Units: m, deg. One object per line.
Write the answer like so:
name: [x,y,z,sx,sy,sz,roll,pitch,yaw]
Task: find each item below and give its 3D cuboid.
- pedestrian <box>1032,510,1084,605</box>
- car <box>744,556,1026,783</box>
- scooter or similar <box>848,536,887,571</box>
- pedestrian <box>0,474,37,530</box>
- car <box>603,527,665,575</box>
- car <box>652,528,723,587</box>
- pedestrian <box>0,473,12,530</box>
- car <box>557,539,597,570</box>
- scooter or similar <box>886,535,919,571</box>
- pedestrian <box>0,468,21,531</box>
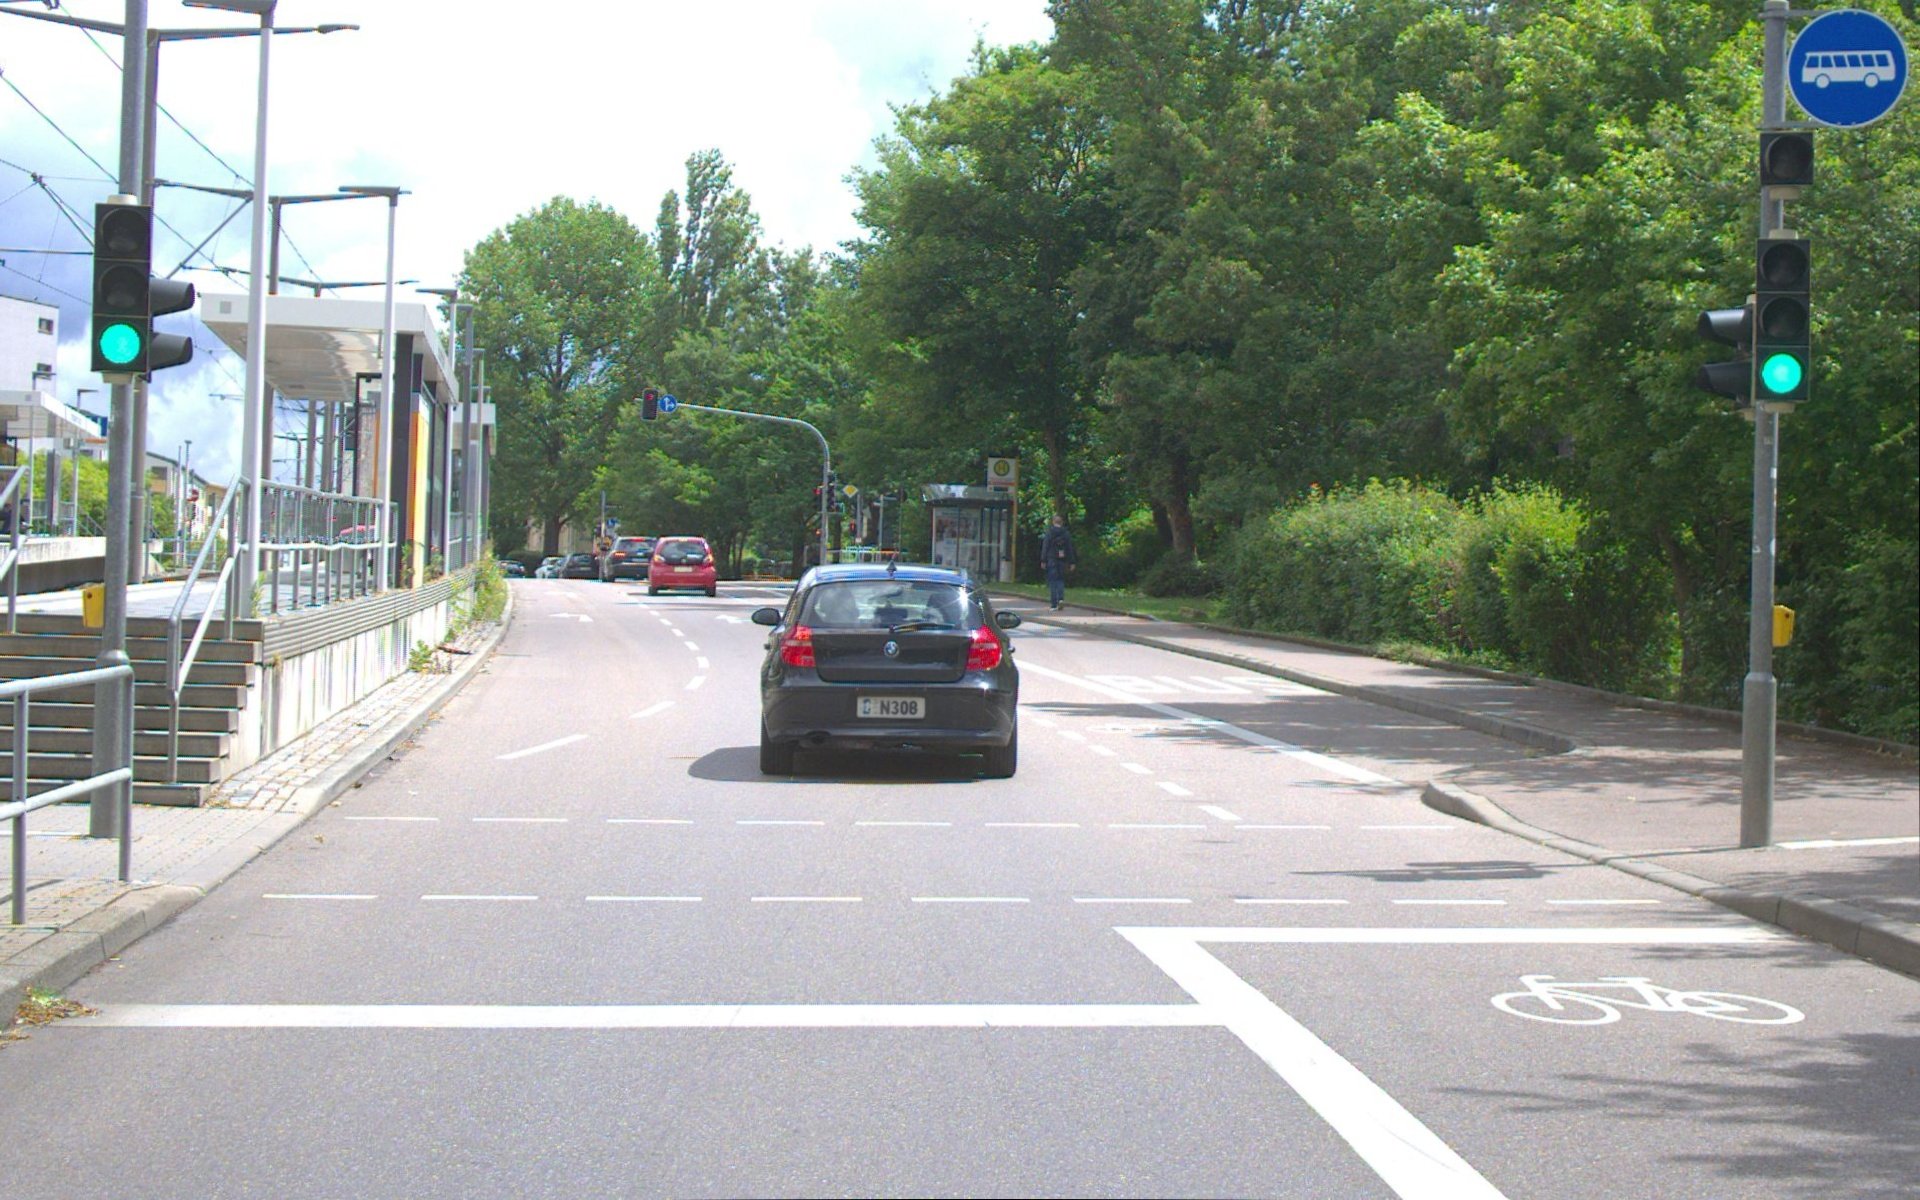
pedestrian: [1.997,-0.869,70.242,0.801,1.889,1.271,3,1,-7]
car: [-0.586,0.426,23.734,1.654,1.414,3.518,1,1,-6]
scooter or similar: [-3.214,-1.614,119.651,1.287,1.185,0.385,0,1,-23]
pedestrian: [-20.851,-2.165,76.109,0.742,1.232,0.518,1,1,-7]
car: [-10.067,-1.523,106.095,1.654,1.414,3.518,1,1,-9]
car: [-6.756,-1.064,85.077,1.594,1.414,3.518,1,1,-7]
pedestrian: [-20.696,-2.123,74.007,0.519,1.232,0.543,0,1,-19]
car: [-17.706,-2.110,158.947,1.654,1.414,3.517,1,1,-3]
scooter or similar: [-2.012,-1.656,120.621,1.106,1.253,0.332,0,1,-19]
pedestrian: [-20.884,-2.194,75.082,0.643,1.364,0.507,1,1,-7]
